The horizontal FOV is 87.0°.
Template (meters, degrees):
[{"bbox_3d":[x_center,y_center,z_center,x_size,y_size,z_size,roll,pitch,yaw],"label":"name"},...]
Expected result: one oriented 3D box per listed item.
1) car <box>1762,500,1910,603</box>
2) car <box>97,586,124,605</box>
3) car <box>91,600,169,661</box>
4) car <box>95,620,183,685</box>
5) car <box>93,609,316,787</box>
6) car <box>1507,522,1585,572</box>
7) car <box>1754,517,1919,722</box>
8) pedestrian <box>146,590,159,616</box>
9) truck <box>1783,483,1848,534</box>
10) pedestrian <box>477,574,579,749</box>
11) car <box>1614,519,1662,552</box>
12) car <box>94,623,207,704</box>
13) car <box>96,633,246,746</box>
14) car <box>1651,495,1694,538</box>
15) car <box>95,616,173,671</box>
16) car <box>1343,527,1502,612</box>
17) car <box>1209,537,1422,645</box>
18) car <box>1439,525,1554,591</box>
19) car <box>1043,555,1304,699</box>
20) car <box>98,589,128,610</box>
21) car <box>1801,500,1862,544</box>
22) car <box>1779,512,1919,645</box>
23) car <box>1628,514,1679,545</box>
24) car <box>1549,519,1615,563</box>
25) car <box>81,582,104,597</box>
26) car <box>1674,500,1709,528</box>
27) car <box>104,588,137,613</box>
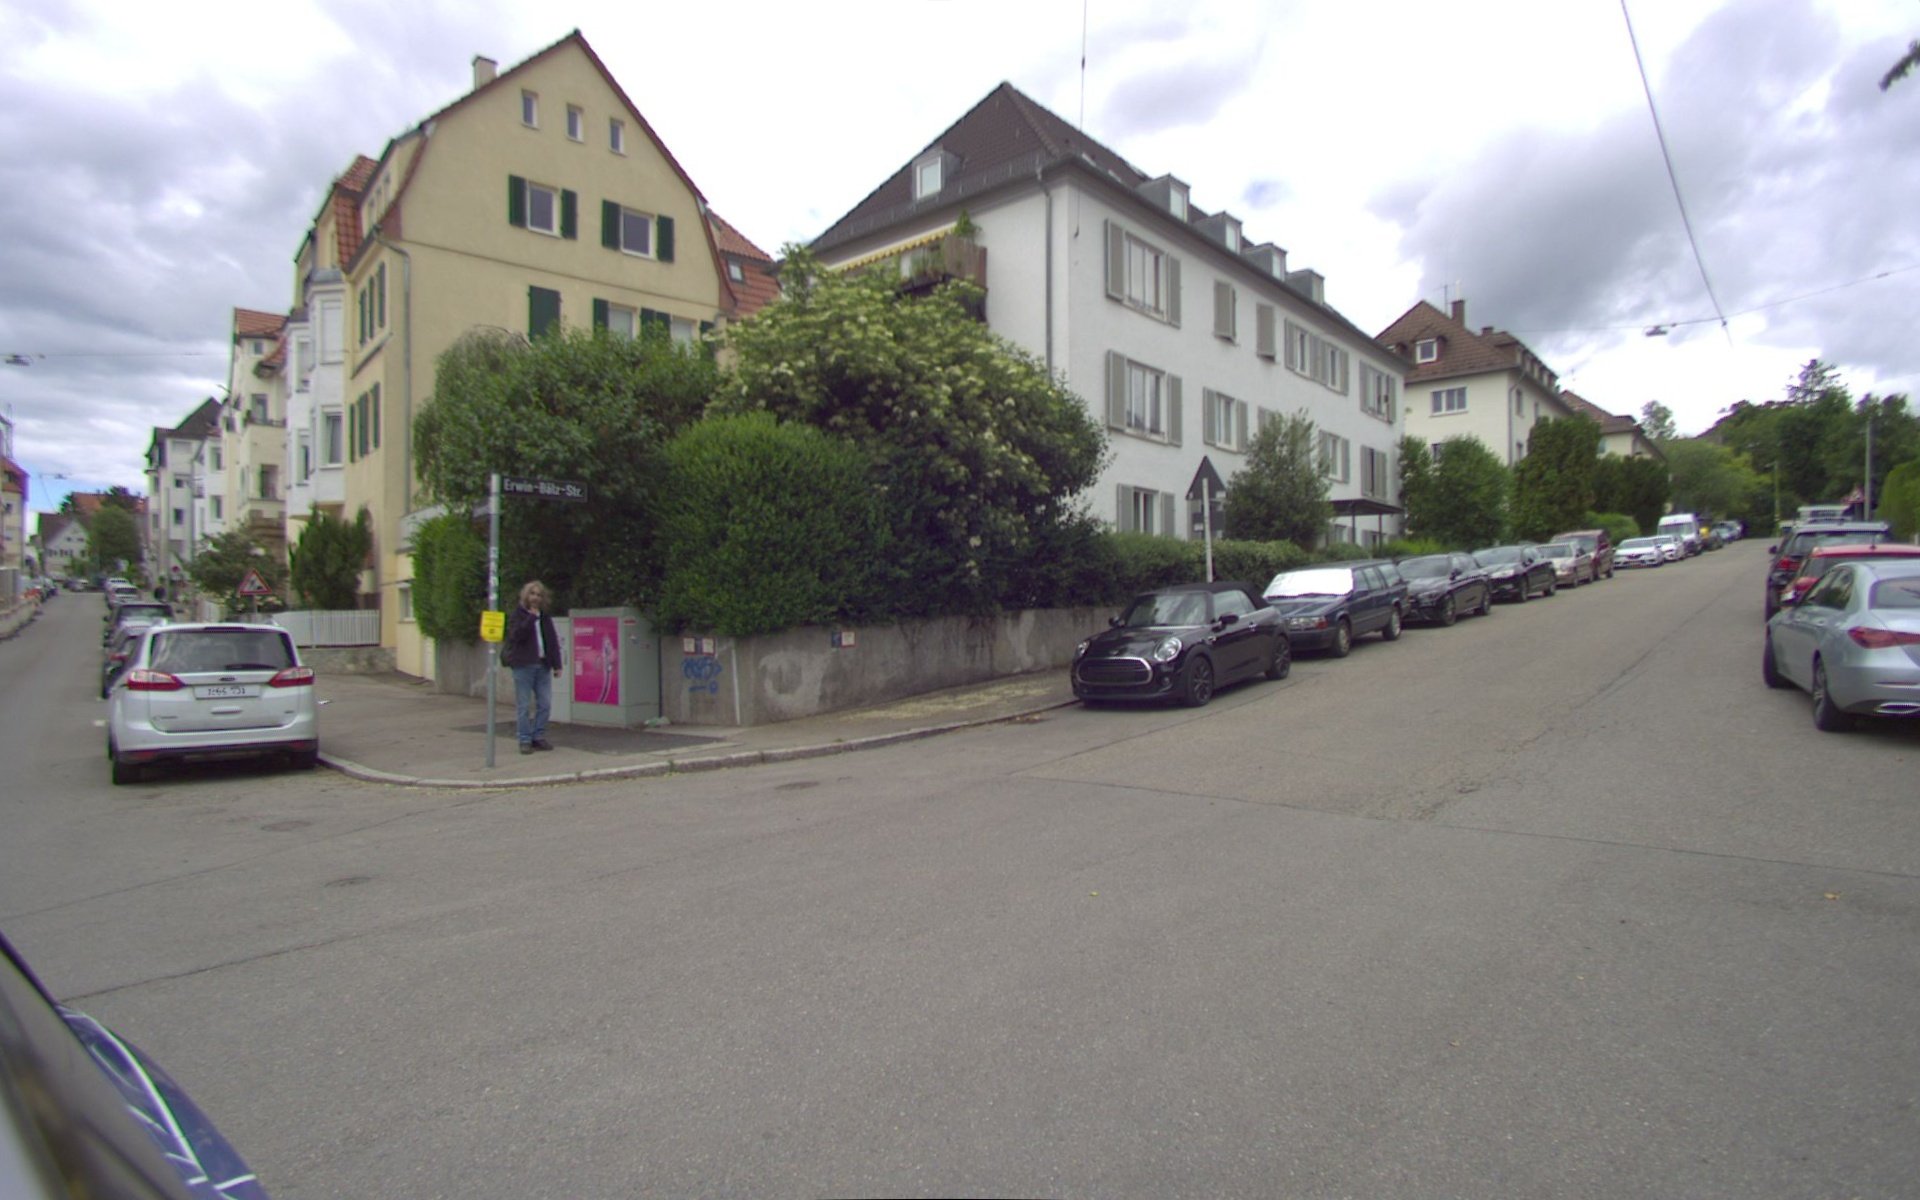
[{"bbox_3d":[15.437,-0.908,17.942,1.762,1.561,4.196,-2,3,40],"label":"car"},{"bbox_3d":[-77.122,-0.403,91.903,1.756,1.578,4.008,0,1,-39],"label":"car"},{"bbox_3d":[-27.531,0.955,33.534,1.728,1.810,4.154,1,0,-43],"label":"car"},{"bbox_3d":[-21.256,1.286,26.154,1.618,1.439,4.129,1,0,-41],"label":"car"},{"bbox_3d":[-8.862,1.000,11.730,1.782,1.672,4.157,0,-2,-41],"label":"car"},{"bbox_3d":[18.831,-1.718,32.469,1.539,1.398,3.505,-2,3,40],"label":"car"},{"bbox_3d":[8.705,0.012,9.186,1.829,1.447,4.467,-3,3,32],"label":"car"},{"bbox_3d":[-50.859,0.184,63.726,0.608,1.669,0.814,-2,1,-39],"label":"pedestrian"},{"bbox_3d":[44.515,-4.760,52.617,2.429,2.374,4.836,-1,4,42],"label":"truck"},{"bbox_3d":[-4.621,0.637,10.814,0.822,1.773,0.635,-3,0,42],"label":"pedestrian"},{"bbox_3d":[32.533,-3.084,48.510,1.539,1.398,3.334,-2,3,40],"label":"car"},{"bbox_3d":[-17.718,1.294,22.082,1.780,1.491,4.335,0,0,-41],"label":"car"},{"bbox_3d":[-12.162,1.276,15.525,1.587,1.464,3.619,3,-2,-41],"label":"car"},{"bbox_3d":[43.881,-5.111,62.291,1.972,2.417,4.638,-3,2,37],"label":"car"},{"bbox_3d":[-24.330,1.236,29.762,1.618,1.409,3.709,2,-1,-41],"label":"car"},{"bbox_3d":[10.122,-0.709,21.936,1.887,1.493,4.672,-3,3,40],"label":"car"},{"bbox_3d":[6.342,-0.218,17.693,1.887,1.493,4.672,-3,3,41],"label":"car"},{"bbox_3d":[14.323,-1.147,26.894,1.791,1.428,4.234,-3,3,40],"label":"car"},{"bbox_3d":[2.940,0.287,13.450,1.786,1.534,3.670,-3,1,40],"label":"car"},{"bbox_3d":[-67.790,-0.071,81.021,1.756,1.578,4.008,0,1,-39],"label":"car"},{"bbox_3d":[32.907,-2.967,38.288,1.632,1.477,3.974,-2,3,40],"label":"car"},{"bbox_3d":[11.872,-0.349,13.305,1.632,1.447,3.739,-2,3,40],"label":"car"},{"bbox_3d":[37.012,-3.777,53.994,1.791,1.428,4.179,-3,3,40],"label":"car"},{"bbox_3d":[22.724,-2.180,36.928,1.539,1.398,3.334,-2,3,40],"label":"car"},{"bbox_3d":[-95.676,-1.225,111.660,1.756,1.578,4.008,-1,2,-39],"label":"car"},{"bbox_3d":[53.574,-6.297,74.090,1.765,1.878,3.949,-2,4,40],"label":"car"},{"bbox_3d":[-55.976,0.023,67.524,1.638,1.578,4.008,0,1,-39],"label":"car"}]
